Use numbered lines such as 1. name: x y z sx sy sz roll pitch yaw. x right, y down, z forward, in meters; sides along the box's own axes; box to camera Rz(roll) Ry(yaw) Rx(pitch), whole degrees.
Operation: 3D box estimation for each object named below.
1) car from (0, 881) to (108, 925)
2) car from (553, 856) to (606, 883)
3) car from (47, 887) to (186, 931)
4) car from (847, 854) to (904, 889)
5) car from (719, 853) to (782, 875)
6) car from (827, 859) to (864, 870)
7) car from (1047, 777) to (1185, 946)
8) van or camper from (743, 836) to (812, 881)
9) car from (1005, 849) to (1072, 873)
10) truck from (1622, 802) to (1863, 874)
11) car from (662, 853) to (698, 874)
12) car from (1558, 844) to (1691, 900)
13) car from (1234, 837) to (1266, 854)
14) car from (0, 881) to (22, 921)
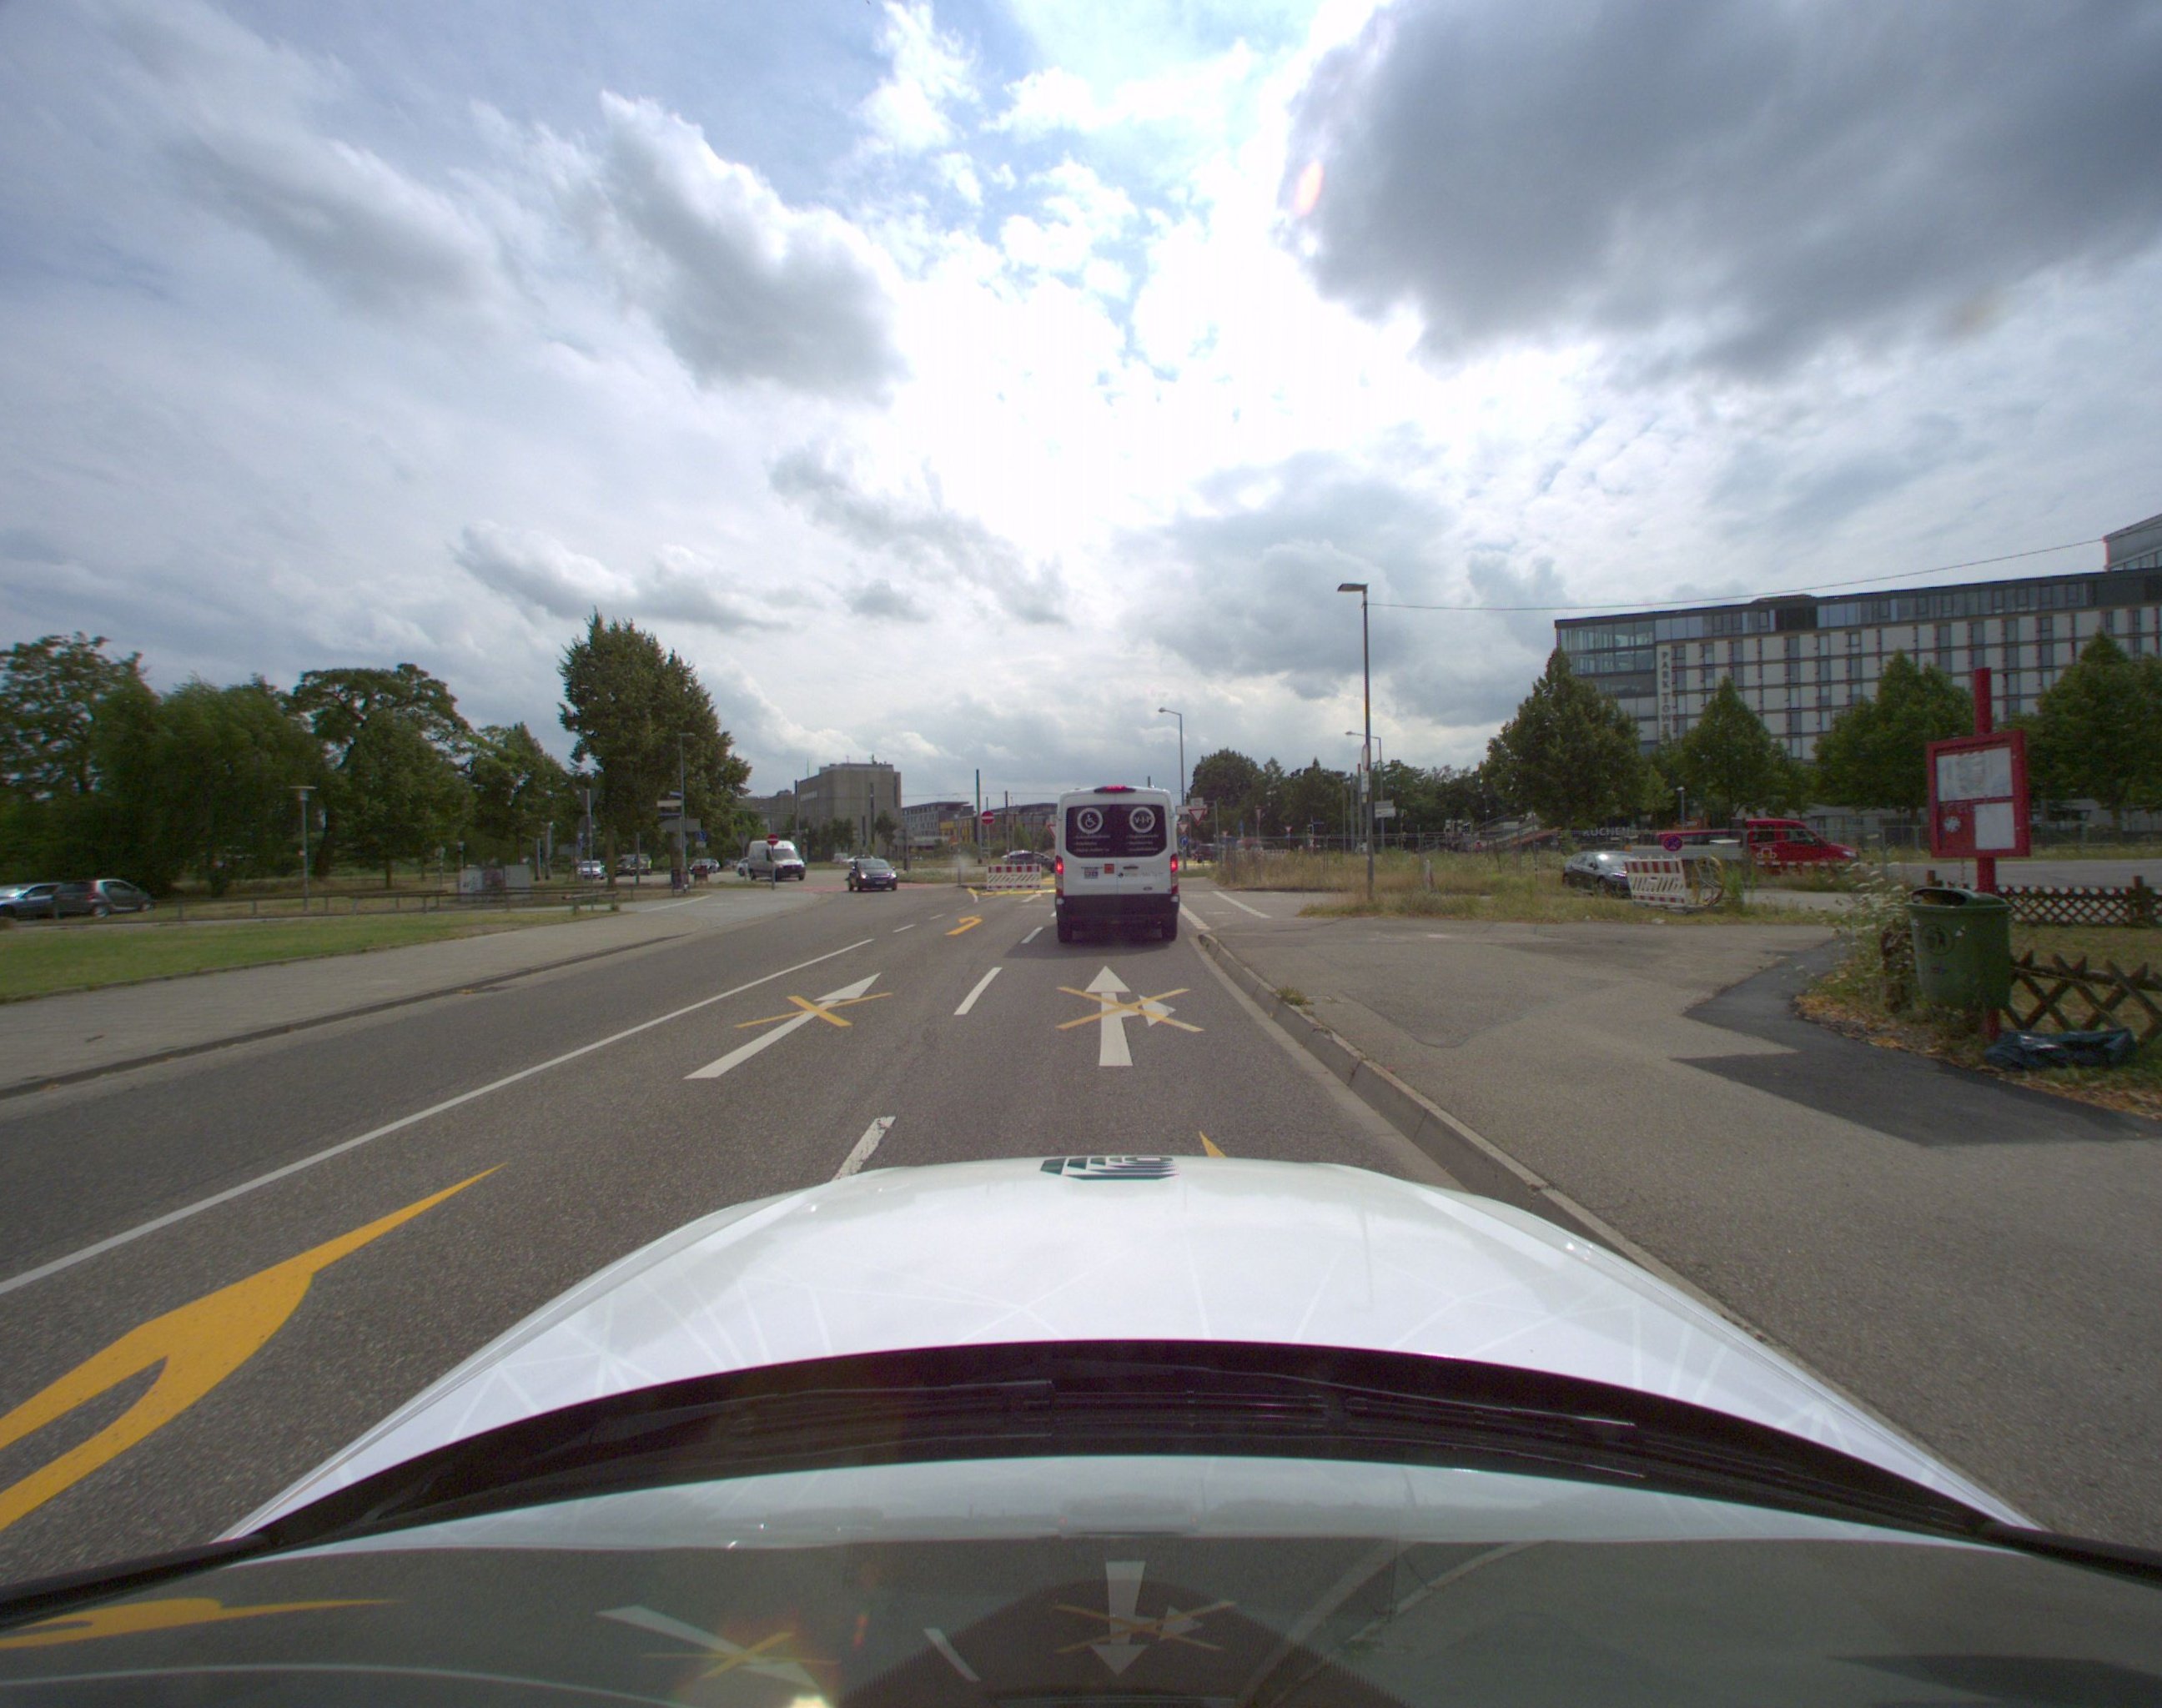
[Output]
1. car: -42.556 1.980 32.748 1.803 1.509 4.138 -2 1 -1
2. car: -41.965 1.310 68.138 3.948 2.013 2.013 -3 1 30
3. car: -40.250 2.240 34.128 1.658 1.477 3.626 -3 1 -7
4. car: -9.363 0.756 36.855 1.780 1.478 4.223 -1 0 -24
5. car: -25.242 0.769 62.124 4.978 1.578 1.877 -1 0 32
6. car: -29.605 1.339 102.367 4.018 1.192 1.667 -3 1 -36
7. car: 0.602 0.109 14.530 2.055 2.540 4.001 -2 0 1
8. van or camper: -20.010 0.316 53.519 2.169 2.725 6.203 -3 1 -40
9. car: -2.900 0.450 55.258 4.343 1.354 1.616 -3 0 -11
10. truck: 24.307 -0.534 30.405 6.599 2.426 2.549 -1 0 27
11. car: -37.975 0.934 77.045 2.011 1.771 3.952 -3 1 -42
12. car: 16.931 0.509 25.650 1.840 1.497 4.348 -3 1 10
13. car: 19.654 -0.989 94.870 2.007 1.816 4.397 -3 1 -10
14. car: -45.421 2.014 32.199 1.806 1.591 4.132 -3 1 -5
